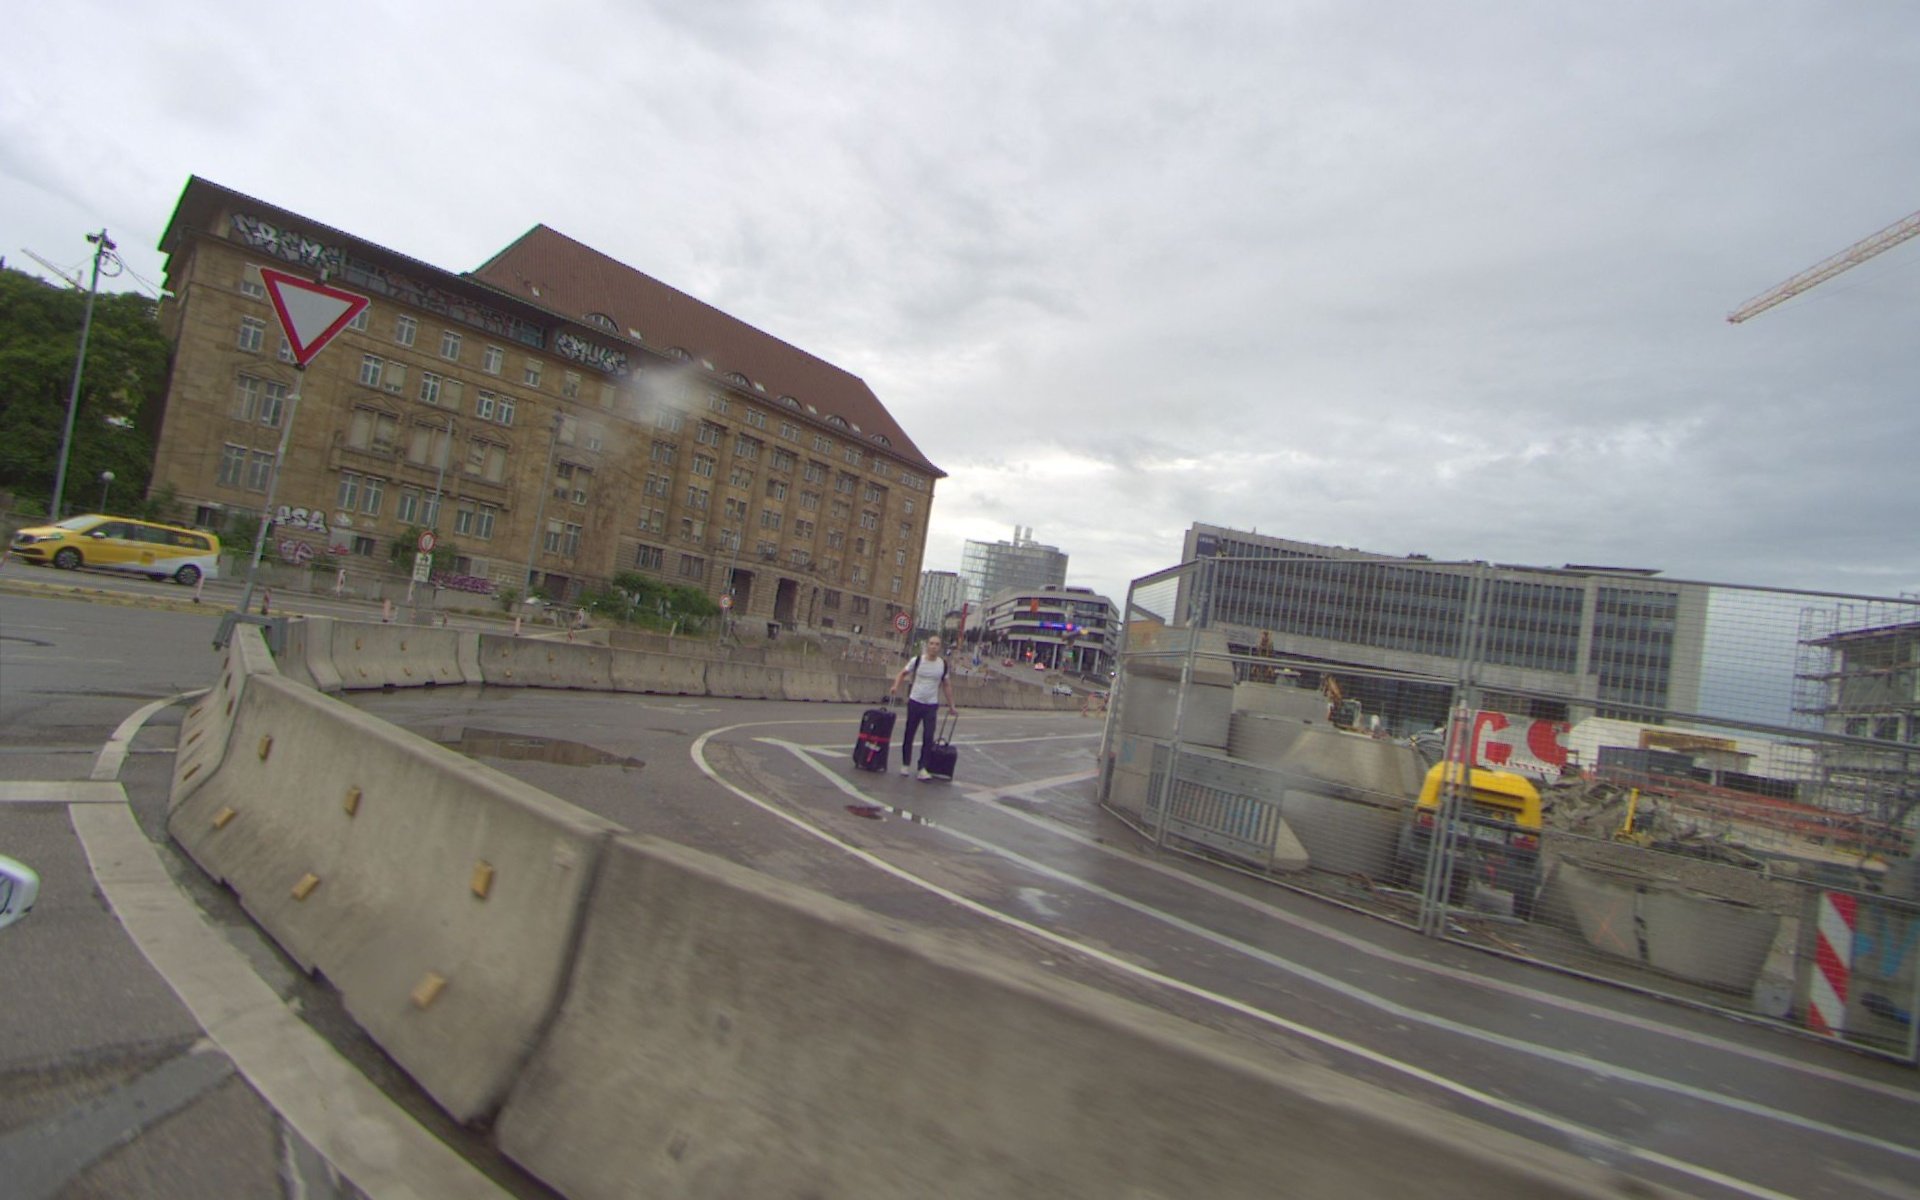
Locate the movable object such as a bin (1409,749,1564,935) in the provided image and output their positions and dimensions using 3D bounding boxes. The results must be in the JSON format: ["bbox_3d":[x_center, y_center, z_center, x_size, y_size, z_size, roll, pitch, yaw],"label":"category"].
[{"bbox_3d":[5.441,2.433,10.535,1.167,1.487,1.896,7,-2,25],"label":"movable object such as a bin"}]

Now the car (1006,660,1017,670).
[{"bbox_3d":[10.754,13.644,210.156,1.963,1.823,4.272,9,-3,4],"label":"car"}]

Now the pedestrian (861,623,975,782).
[{"bbox_3d":[-0.555,1.320,13.114,0.991,1.885,0.775,11,-3,-23],"label":"pedestrian"}]

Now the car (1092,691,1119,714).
[{"bbox_3d":[12.301,8.677,84.845,1.648,1.522,3.758,8,-6,15],"label":"car"}]

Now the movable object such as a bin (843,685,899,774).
[{"bbox_3d":[-1.141,1.649,12.879,0.426,1.027,0.520,10,-3,-22],"label":"movable object such as a bin"}]

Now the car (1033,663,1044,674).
[{"bbox_3d":[16.594,14.469,212.608,1.963,1.823,4.272,9,-3,4],"label":"car"}]

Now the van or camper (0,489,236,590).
[{"bbox_3d":[-27.582,-1.880,33.078,2.205,2.075,5.618,8,-4,22],"label":"van or camper"}]

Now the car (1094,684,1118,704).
[{"bbox_3d":[16.181,10.441,111.743,1.713,1.895,3.781,9,-3,-1],"label":"car"}]

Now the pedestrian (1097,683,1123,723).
[{"bbox_3d":[7.543,5.167,50.539,0.911,1.853,0.687,8,-3,20],"label":"pedestrian"}]

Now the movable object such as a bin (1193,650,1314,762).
[{"bbox_3d":[11.295,4.065,38.764,3.867,3.529,4.364,7,-3,17],"label":"movable object such as a bin"}]

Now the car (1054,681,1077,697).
[{"bbox_3d":[12.494,10.529,119.282,1.718,1.521,3.754,10,-4,-7],"label":"car"}]

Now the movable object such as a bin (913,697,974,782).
[{"bbox_3d":[-0.230,1.880,13.595,0.513,1.027,0.551,10,-3,-22],"label":"movable object such as a bin"}]

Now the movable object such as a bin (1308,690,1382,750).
[{"bbox_3d":[27.275,8.499,71.206,3.876,3.529,4.353,6,-4,32],"label":"movable object such as a bin"}]
